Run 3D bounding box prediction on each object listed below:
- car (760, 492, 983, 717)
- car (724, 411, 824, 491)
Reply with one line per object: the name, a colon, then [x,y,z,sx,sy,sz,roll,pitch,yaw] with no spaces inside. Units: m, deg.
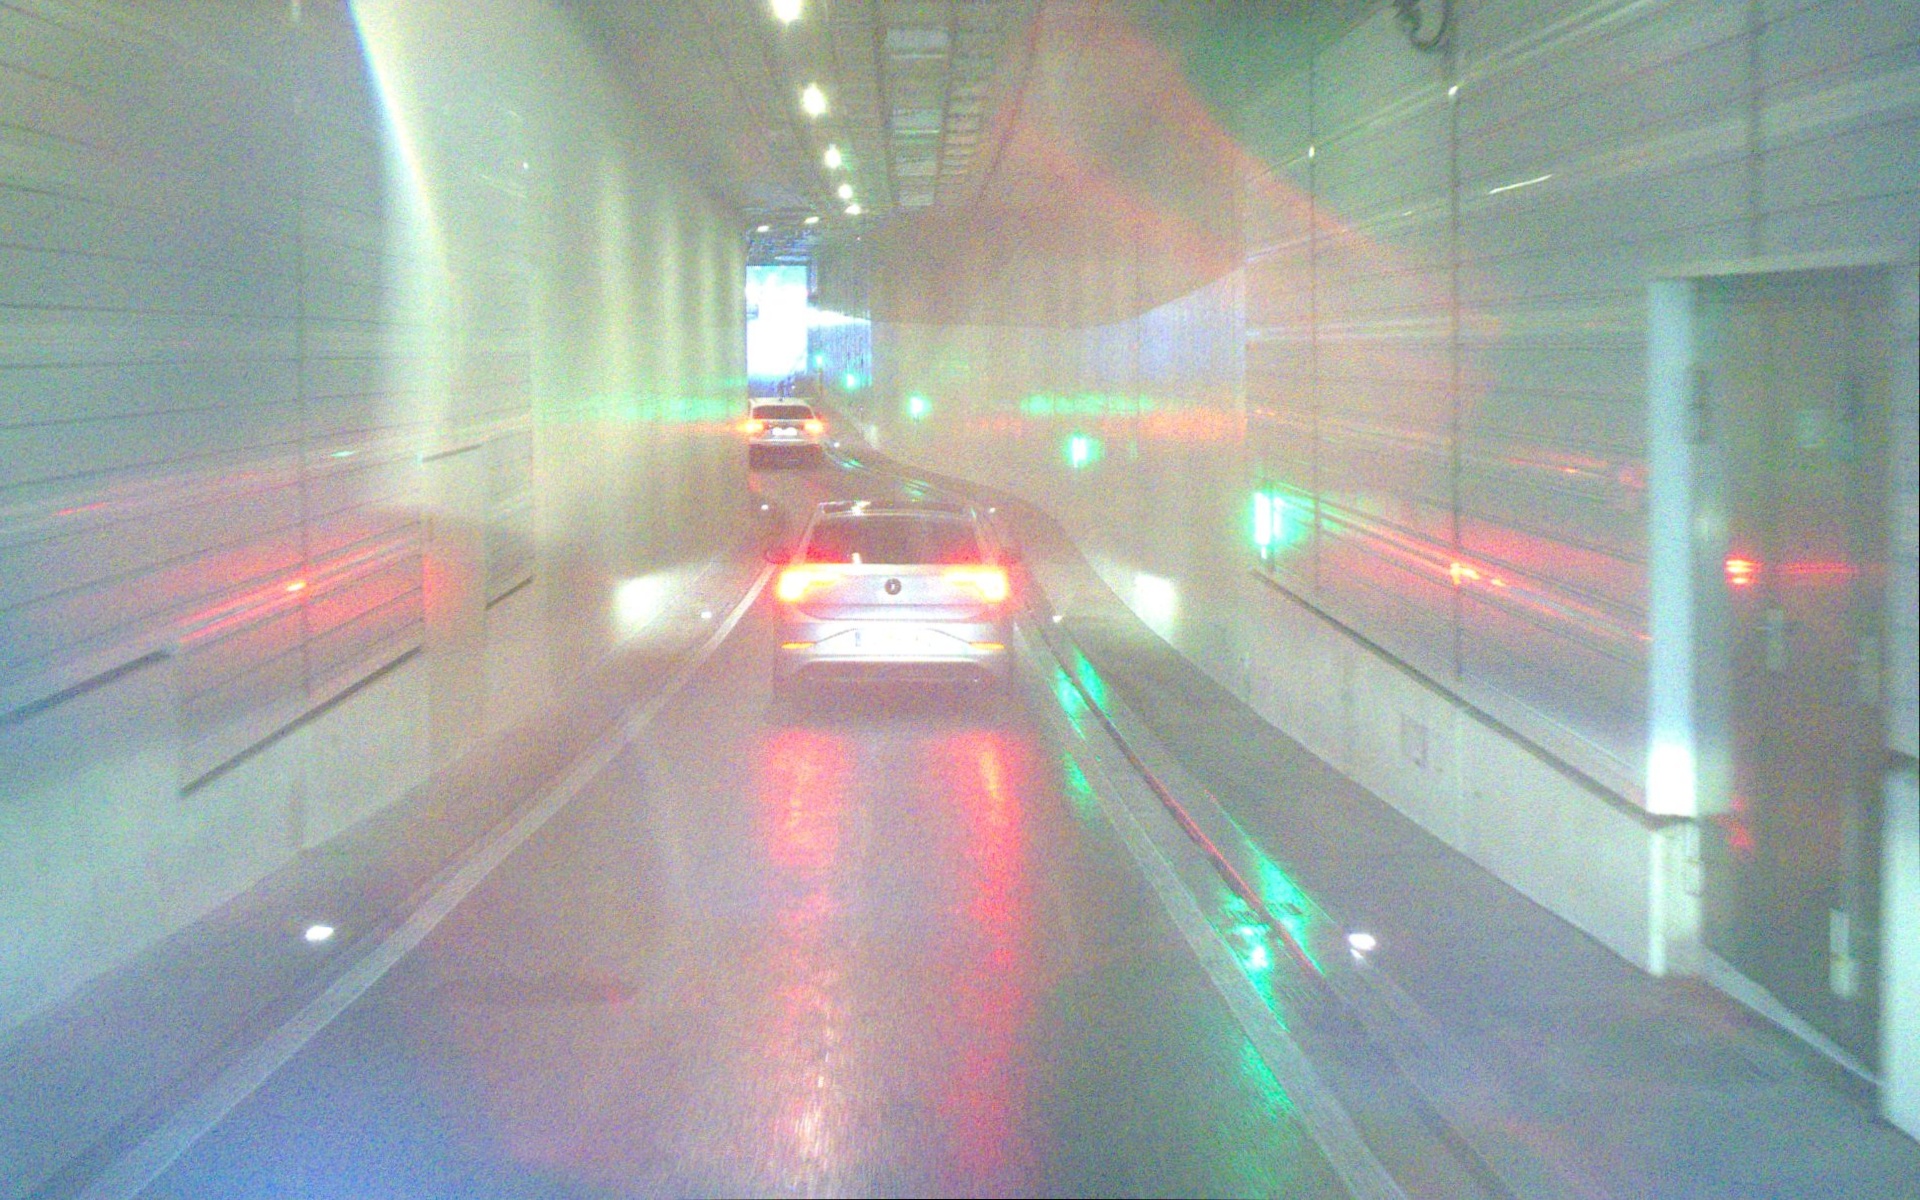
car: [-0.640,-0.022,25.356,1.532,1.392,3.435,0,4,-1]
car: [-4.014,-3.216,73.609,1.880,1.615,4.002,1,3,-6]
